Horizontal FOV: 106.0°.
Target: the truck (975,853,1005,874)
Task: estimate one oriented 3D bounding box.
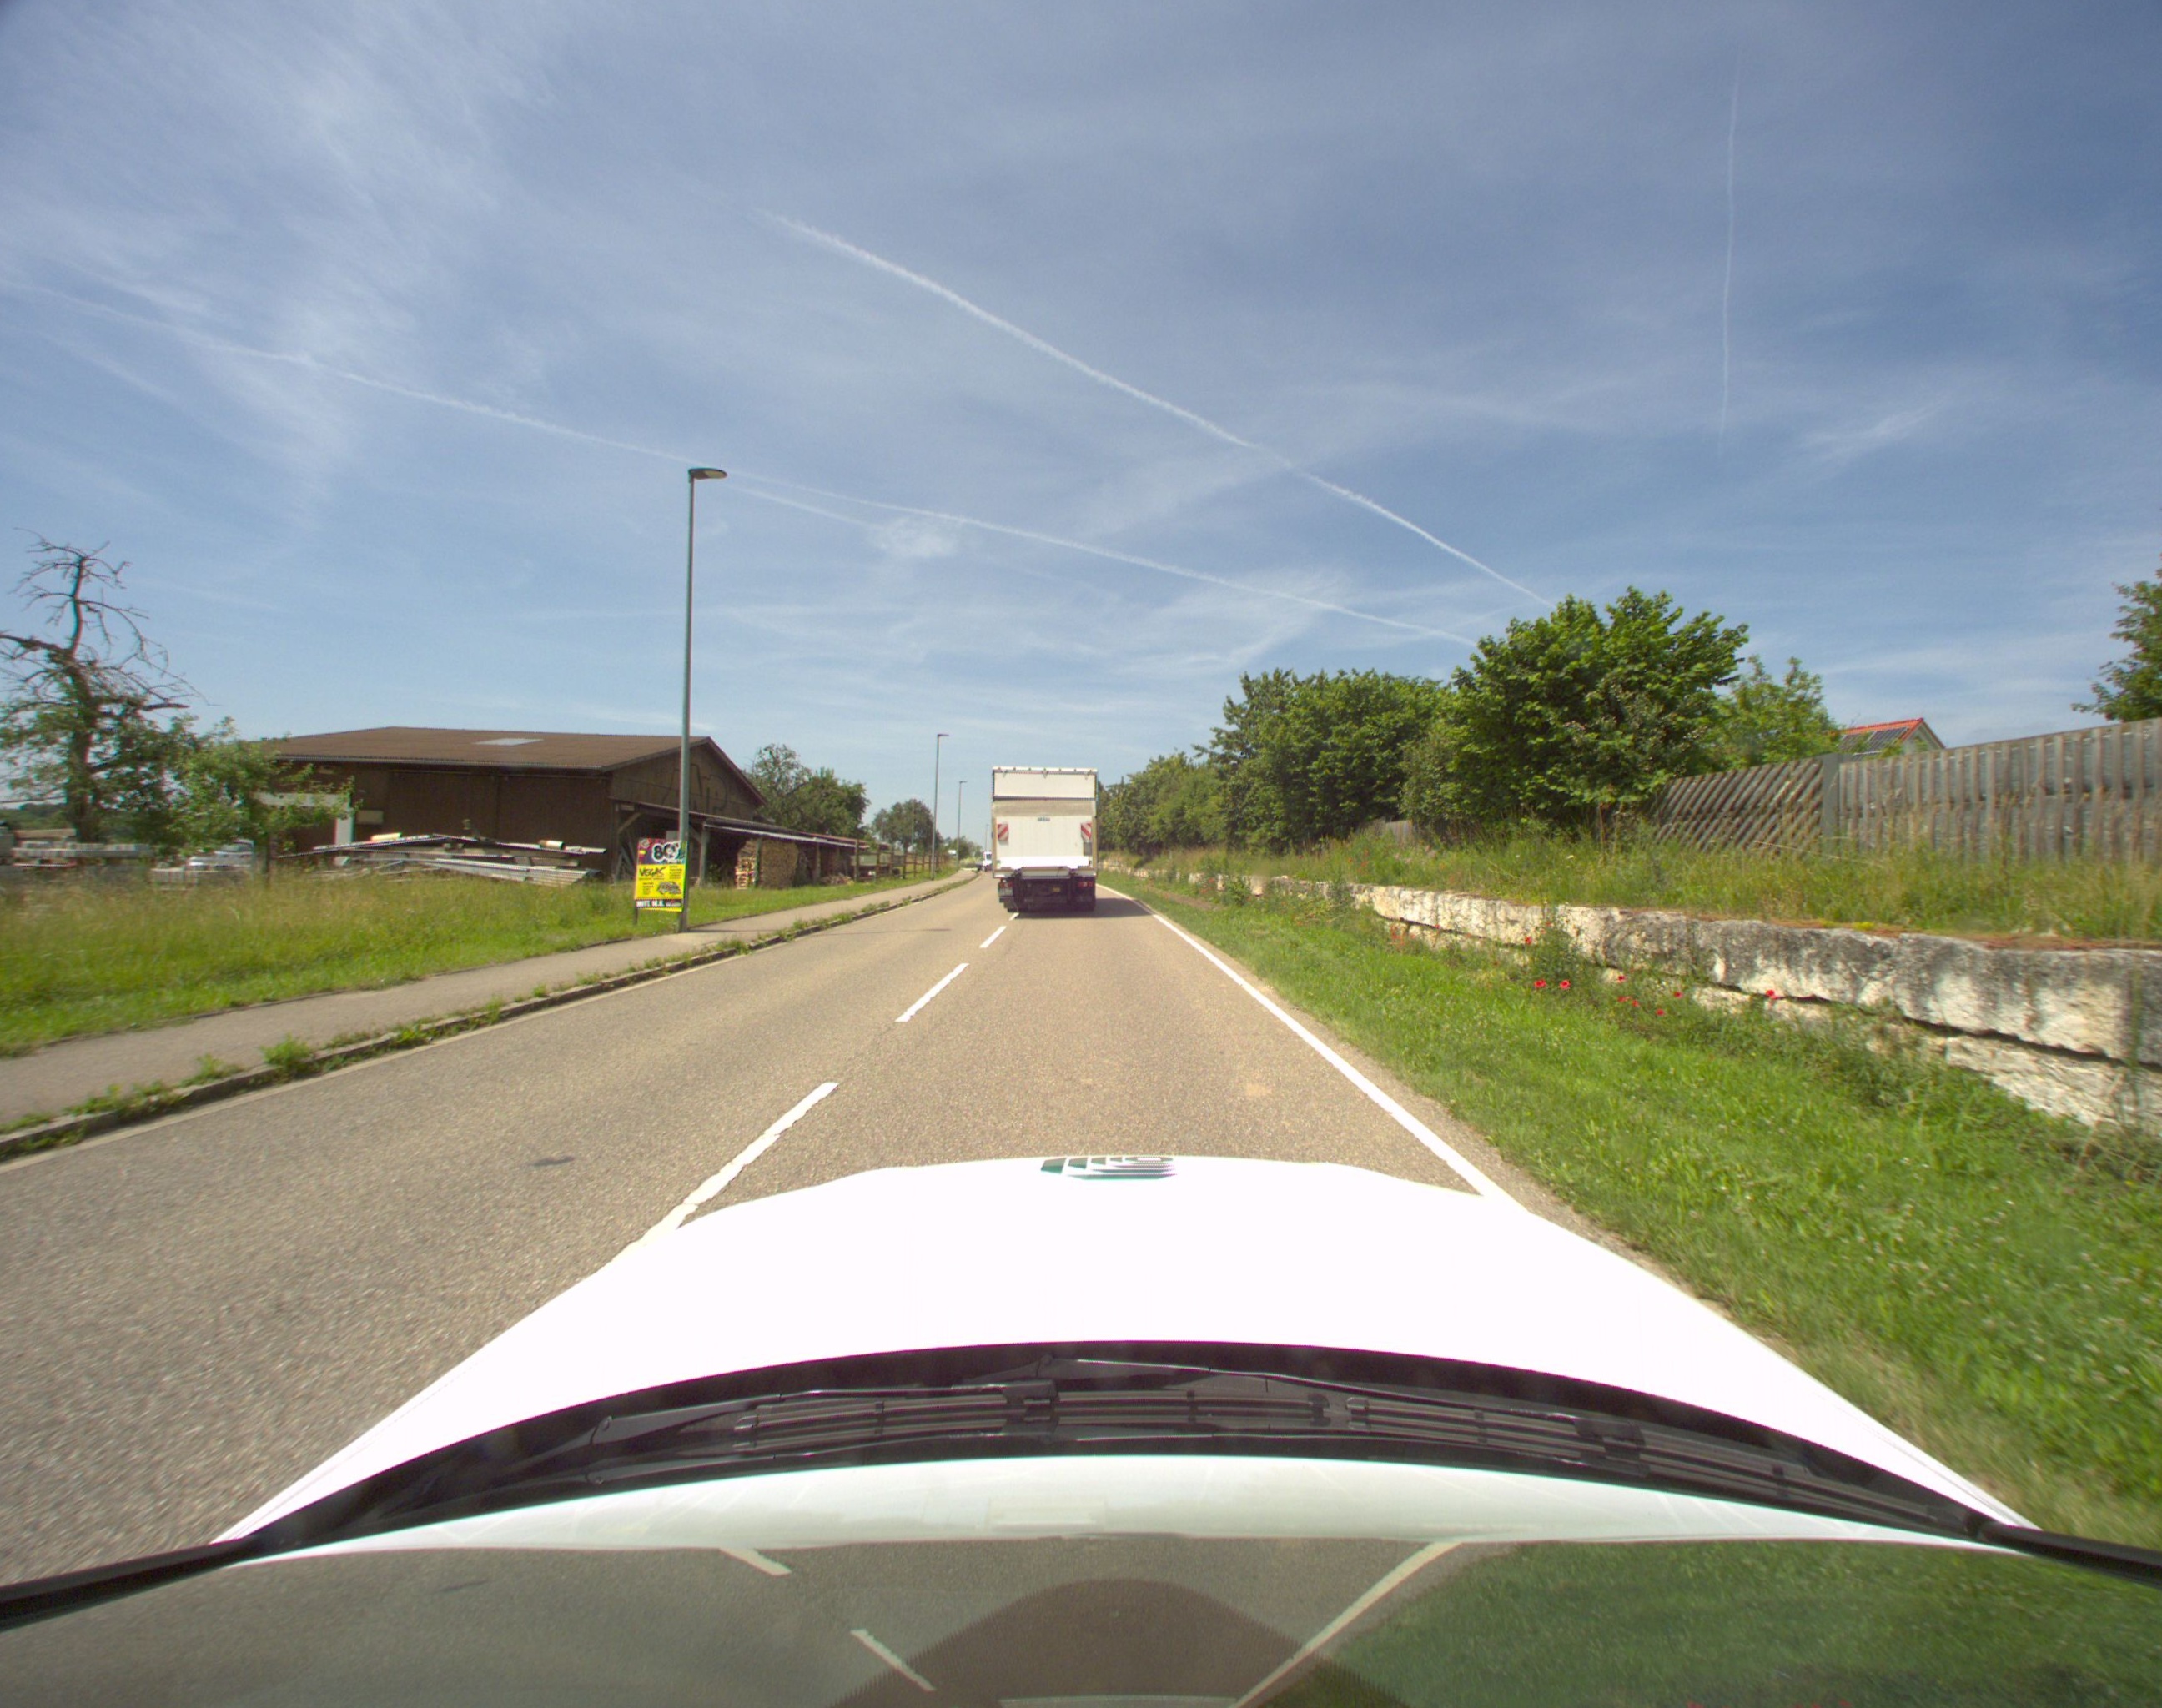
[{"bbox_3d":[-10.412,1.102,92.522,2.228,2.293,6.453,0,-1,-17],"label":"truck"}]

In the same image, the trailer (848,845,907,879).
[{"bbox_3d":[-10.653,0.394,43.067,2.150,1.703,5.022,0,0,-4],"label":"trailer"}]

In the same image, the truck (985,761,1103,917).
[{"bbox_3d":[-0.857,-0.328,24.065,2.758,3.671,9.381,-1,0,0],"label":"truck"}]

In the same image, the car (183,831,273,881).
[{"bbox_3d":[-28.650,0.038,27.475,1.804,1.519,3.952,3,0,-43],"label":"car"}]
